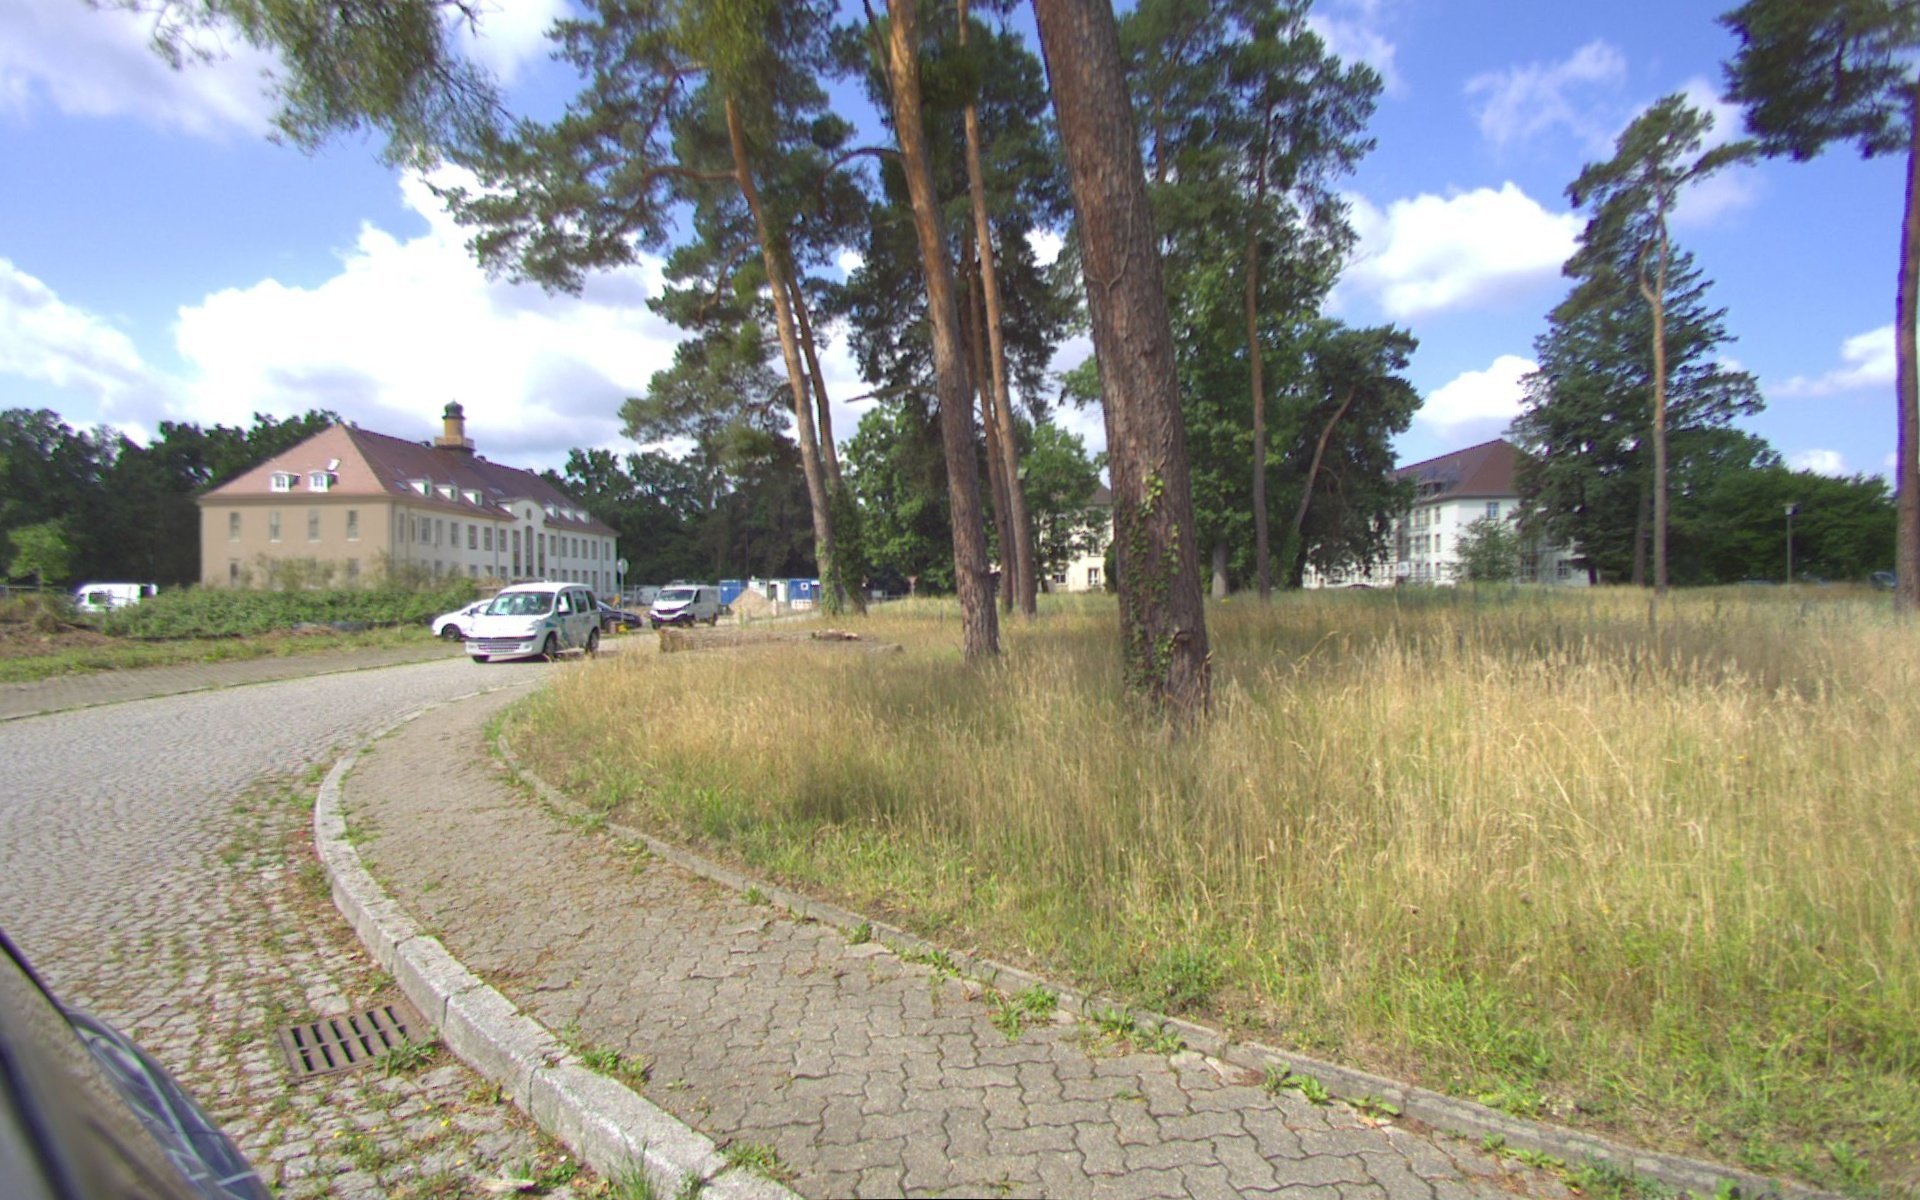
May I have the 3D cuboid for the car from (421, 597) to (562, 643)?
[{"bbox_3d":[-15.788,0.655,34.221,3.998,1.475,1.704,1,0,0],"label":"car"}]

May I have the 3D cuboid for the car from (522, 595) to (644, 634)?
[{"bbox_3d":[-15.534,0.586,41.880,4.403,1.486,1.746,1,0,-2],"label":"car"}]

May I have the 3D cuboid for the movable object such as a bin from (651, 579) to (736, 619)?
[{"bbox_3d":[-17.518,-0.054,66.744,2.141,2.541,5.598,0,0,30],"label":"movable object such as a bin"}]

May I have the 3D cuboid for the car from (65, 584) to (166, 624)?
[{"bbox_3d":[-55.824,0.259,66.947,5.378,2.610,2.240,0,0,10],"label":"car"}]

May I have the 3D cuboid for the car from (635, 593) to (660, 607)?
[{"bbox_3d":[-39.881,-0.057,129.350,1.779,1.696,4.037,0,1,2],"label":"car"}]

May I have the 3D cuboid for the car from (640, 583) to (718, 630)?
[{"bbox_3d":[-13.162,0.242,47.808,1.894,2.069,5.675,0,1,2],"label":"car"}]

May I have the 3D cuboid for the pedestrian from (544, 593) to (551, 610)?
[{"bbox_3d":[-44.917,0.166,110.174,0.488,1.801,0.503,-1,0,24],"label":"pedestrian"}]

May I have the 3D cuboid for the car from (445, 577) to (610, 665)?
[{"bbox_3d":[-10.179,0.432,24.295,1.815,1.883,4.829,-1,1,1],"label":"car"}]
